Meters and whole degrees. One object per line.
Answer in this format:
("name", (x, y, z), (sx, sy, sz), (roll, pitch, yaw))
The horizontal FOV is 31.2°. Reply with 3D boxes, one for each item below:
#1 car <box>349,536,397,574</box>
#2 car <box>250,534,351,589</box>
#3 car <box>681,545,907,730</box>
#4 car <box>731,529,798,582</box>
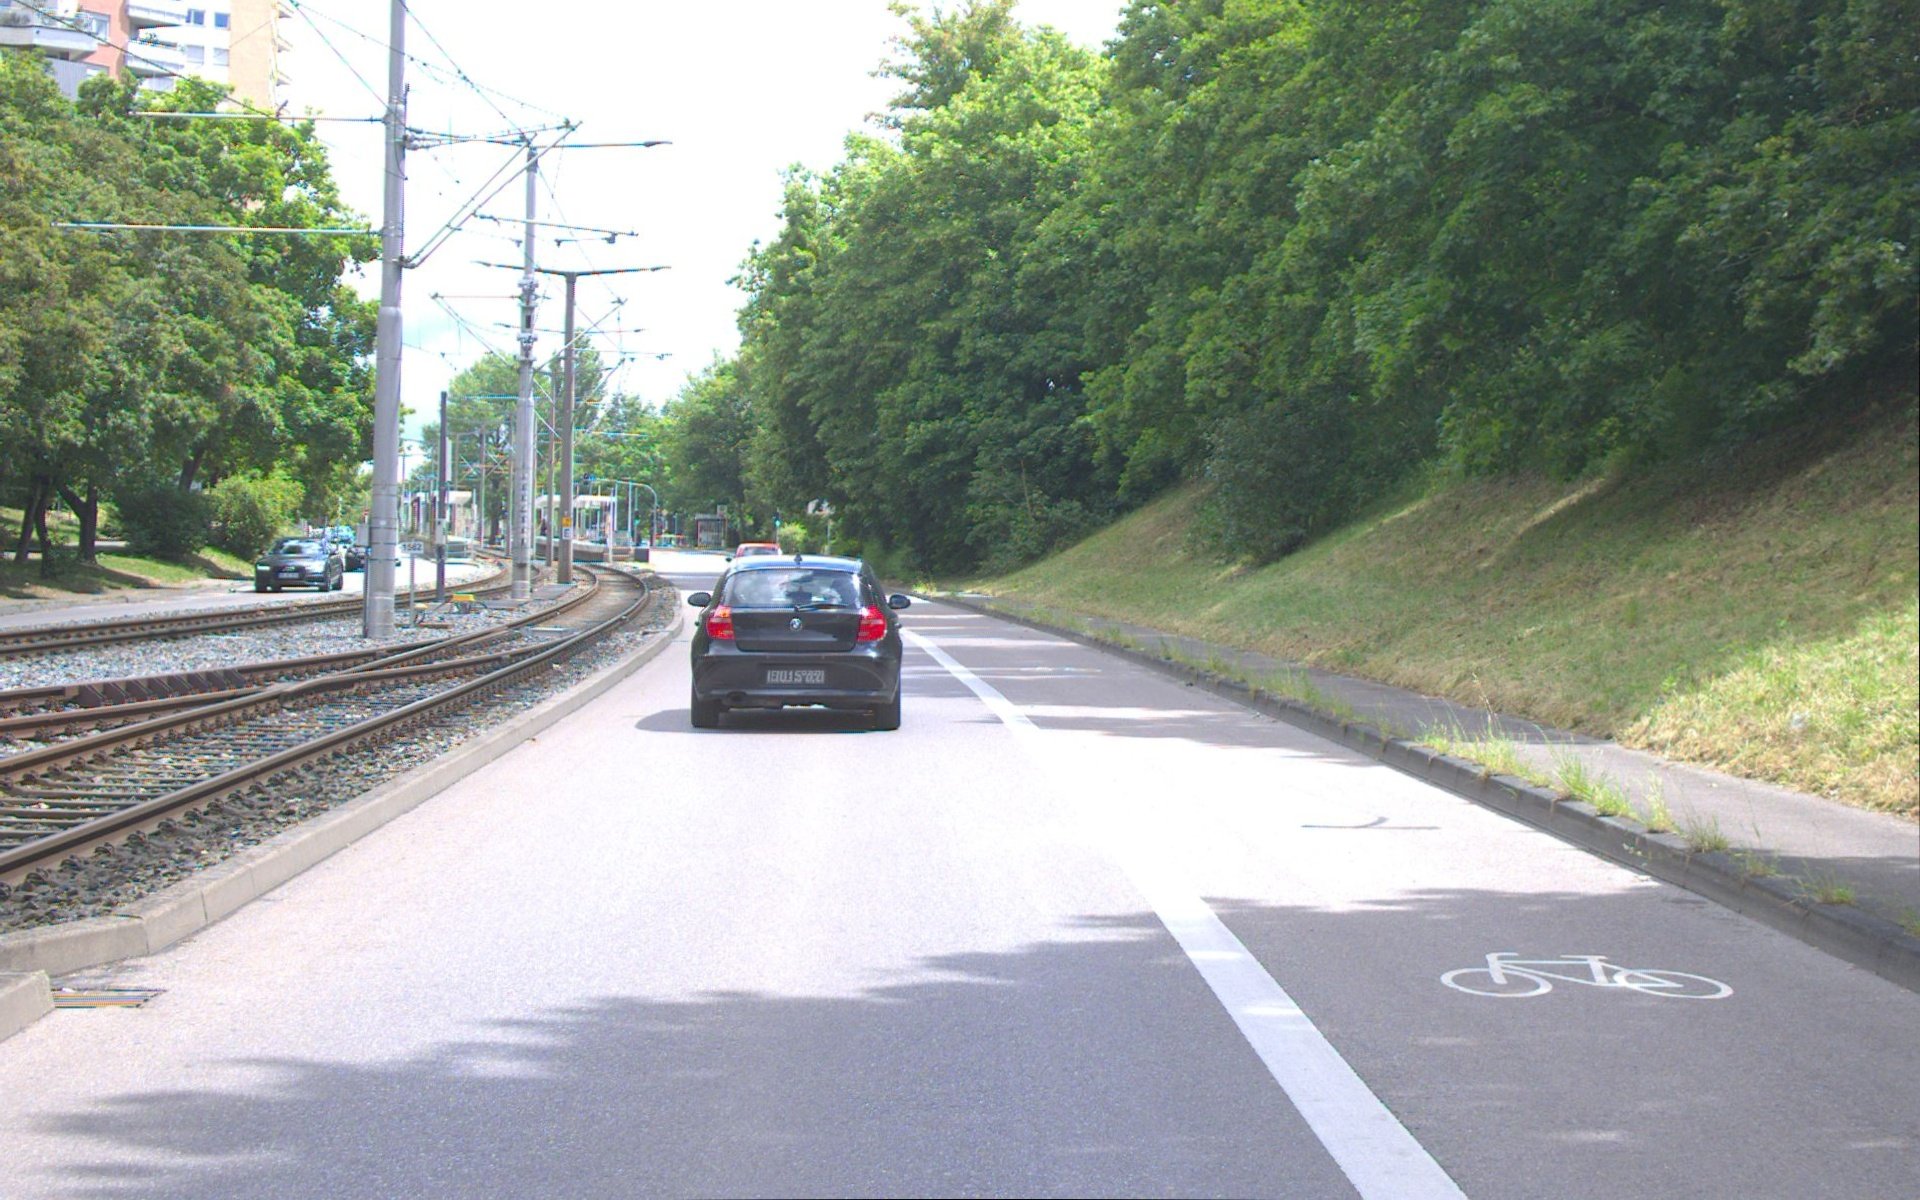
("car", (-23.973, -1.845, 140.588), (1.774, 1.493, 3.998), (1, 1, -8))
("car", (-17.314, -1.035, 90.452), (1.835, 1.386, 4.862), (-1, 1, -2))
("car", (-1.434, 0.264, 29.117), (1.781, 1.454, 3.922), (0, 1, -4))
("car", (-5.637, -1.291, 98.601), (1.781, 1.454, 3.922), (1, 1, -5))
